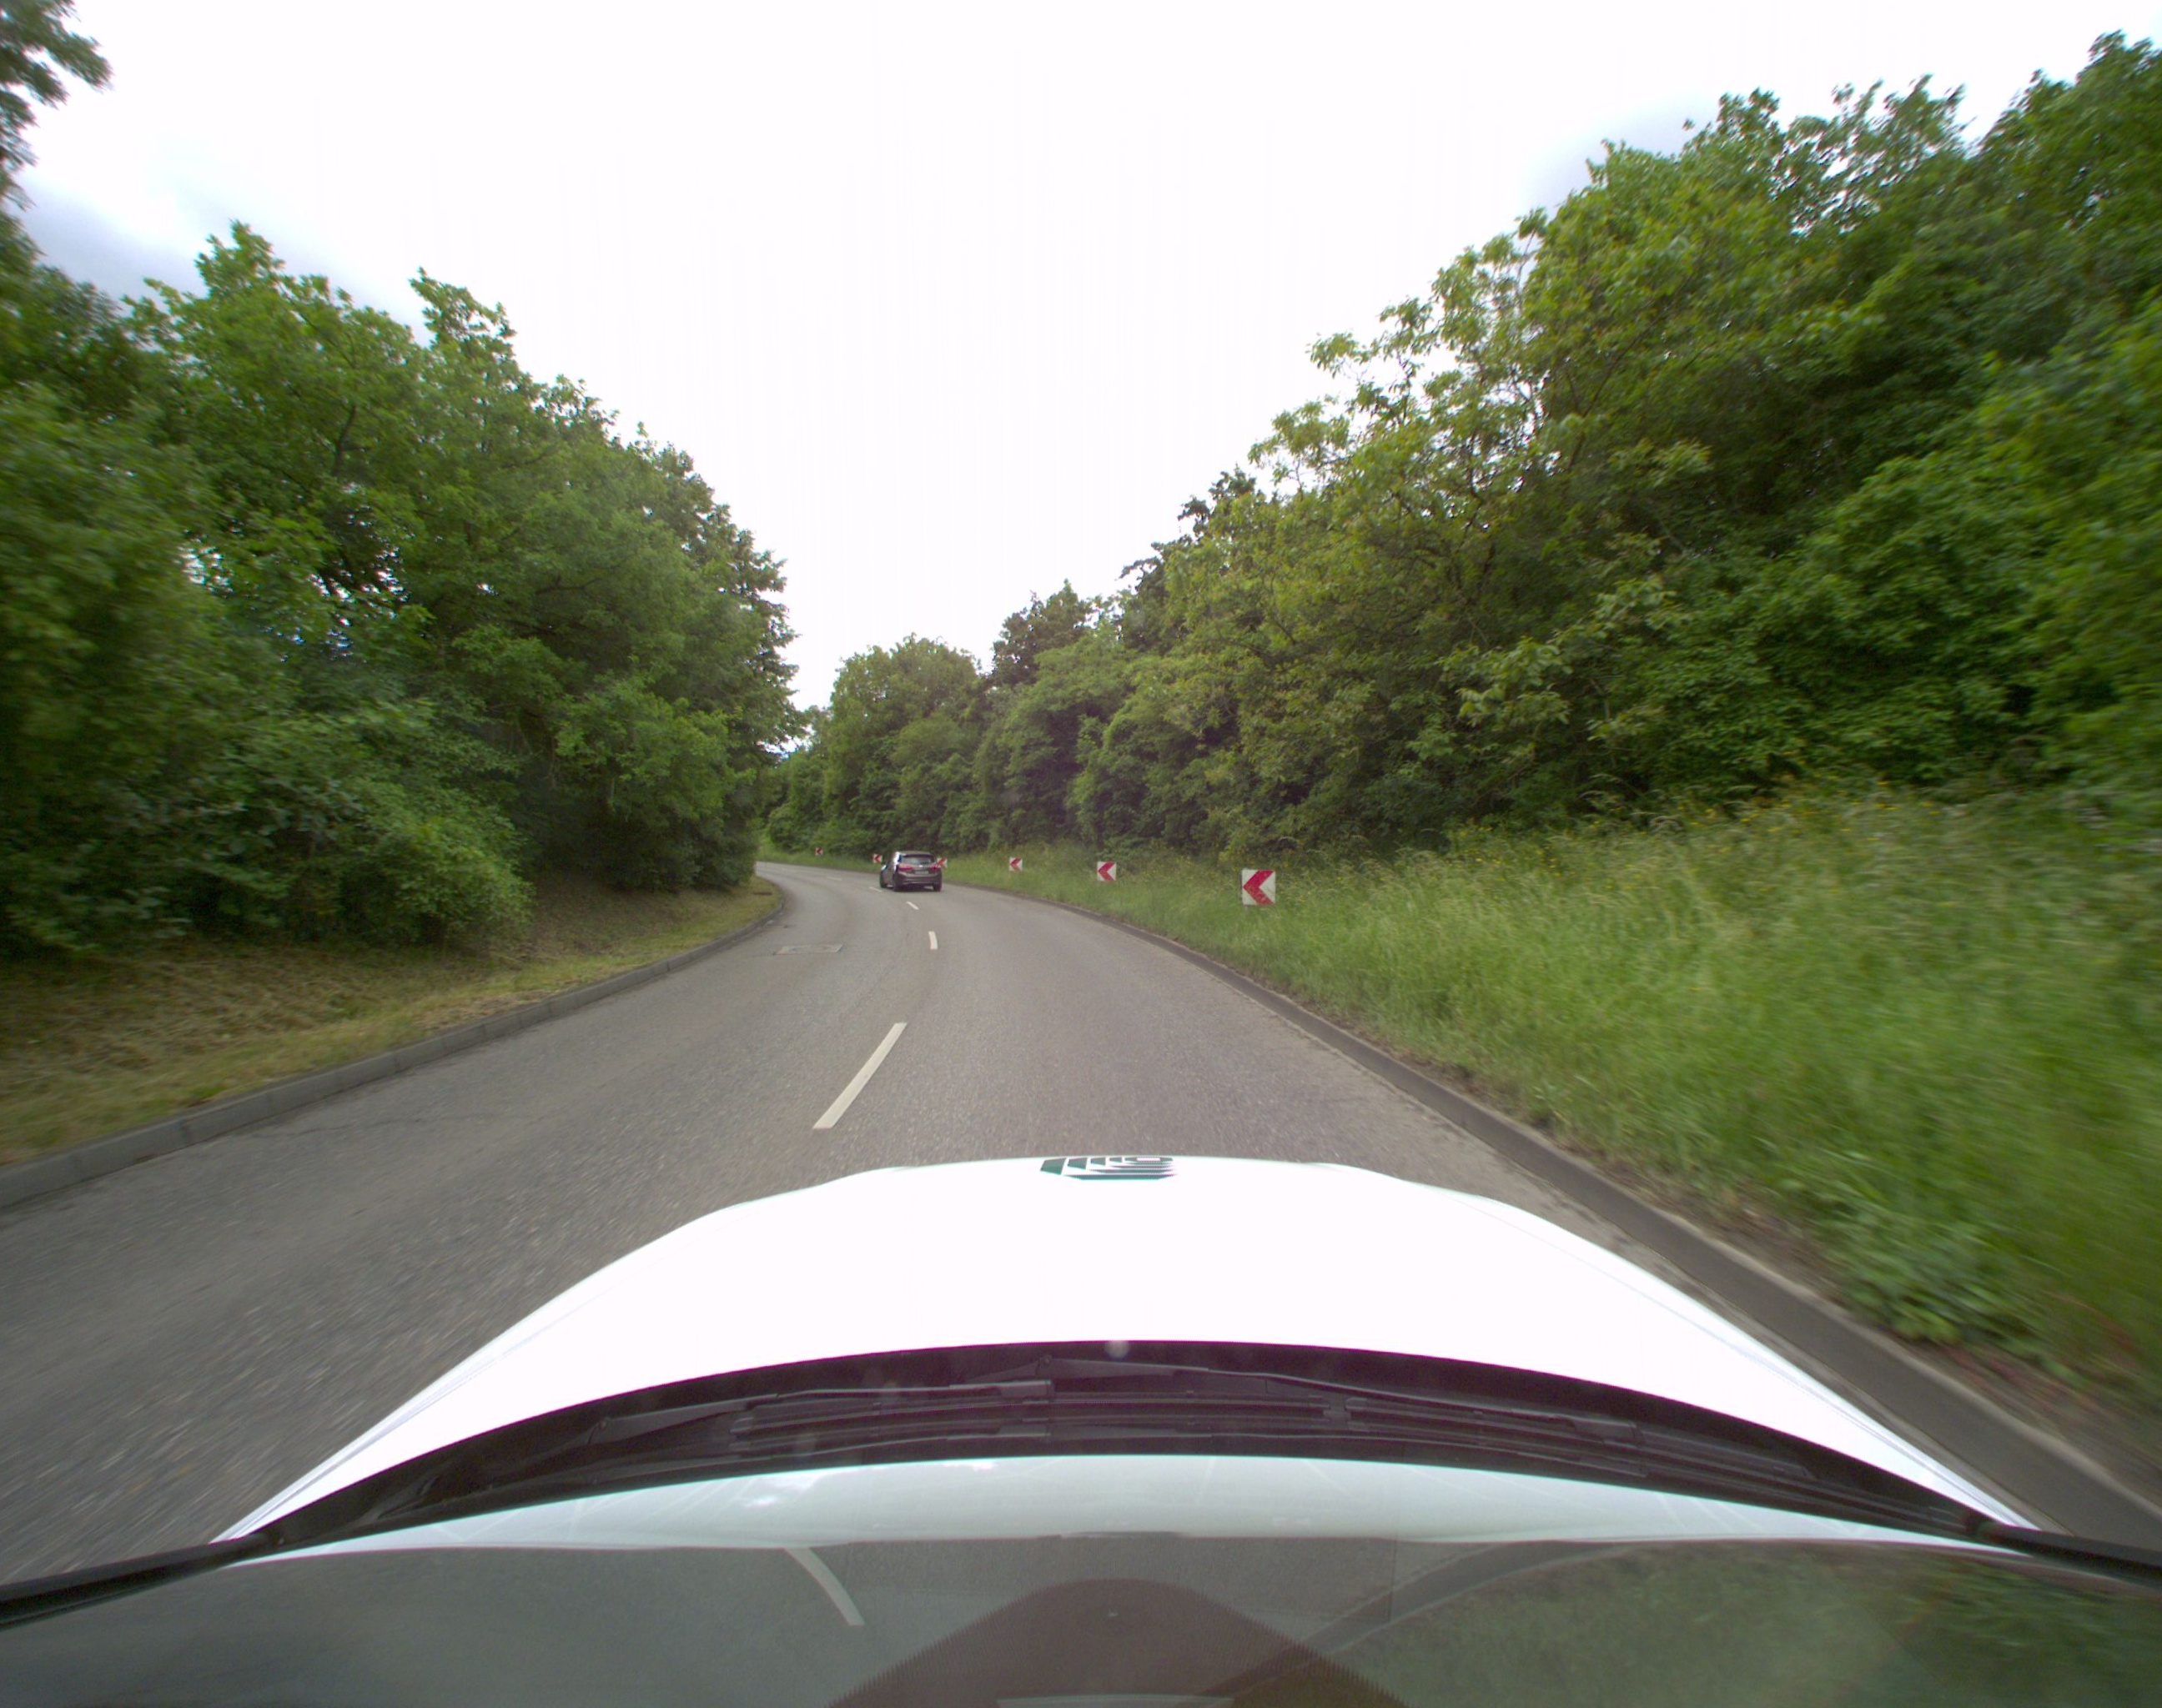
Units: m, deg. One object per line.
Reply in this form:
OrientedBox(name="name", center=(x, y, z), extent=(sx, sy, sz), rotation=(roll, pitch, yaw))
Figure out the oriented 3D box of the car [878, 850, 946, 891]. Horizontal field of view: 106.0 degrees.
OrientedBox(name="car", center=(-6.699, 0.604, 31.969), extent=(1.847, 1.483, 3.970), rotation=(-1, 1, -23))
